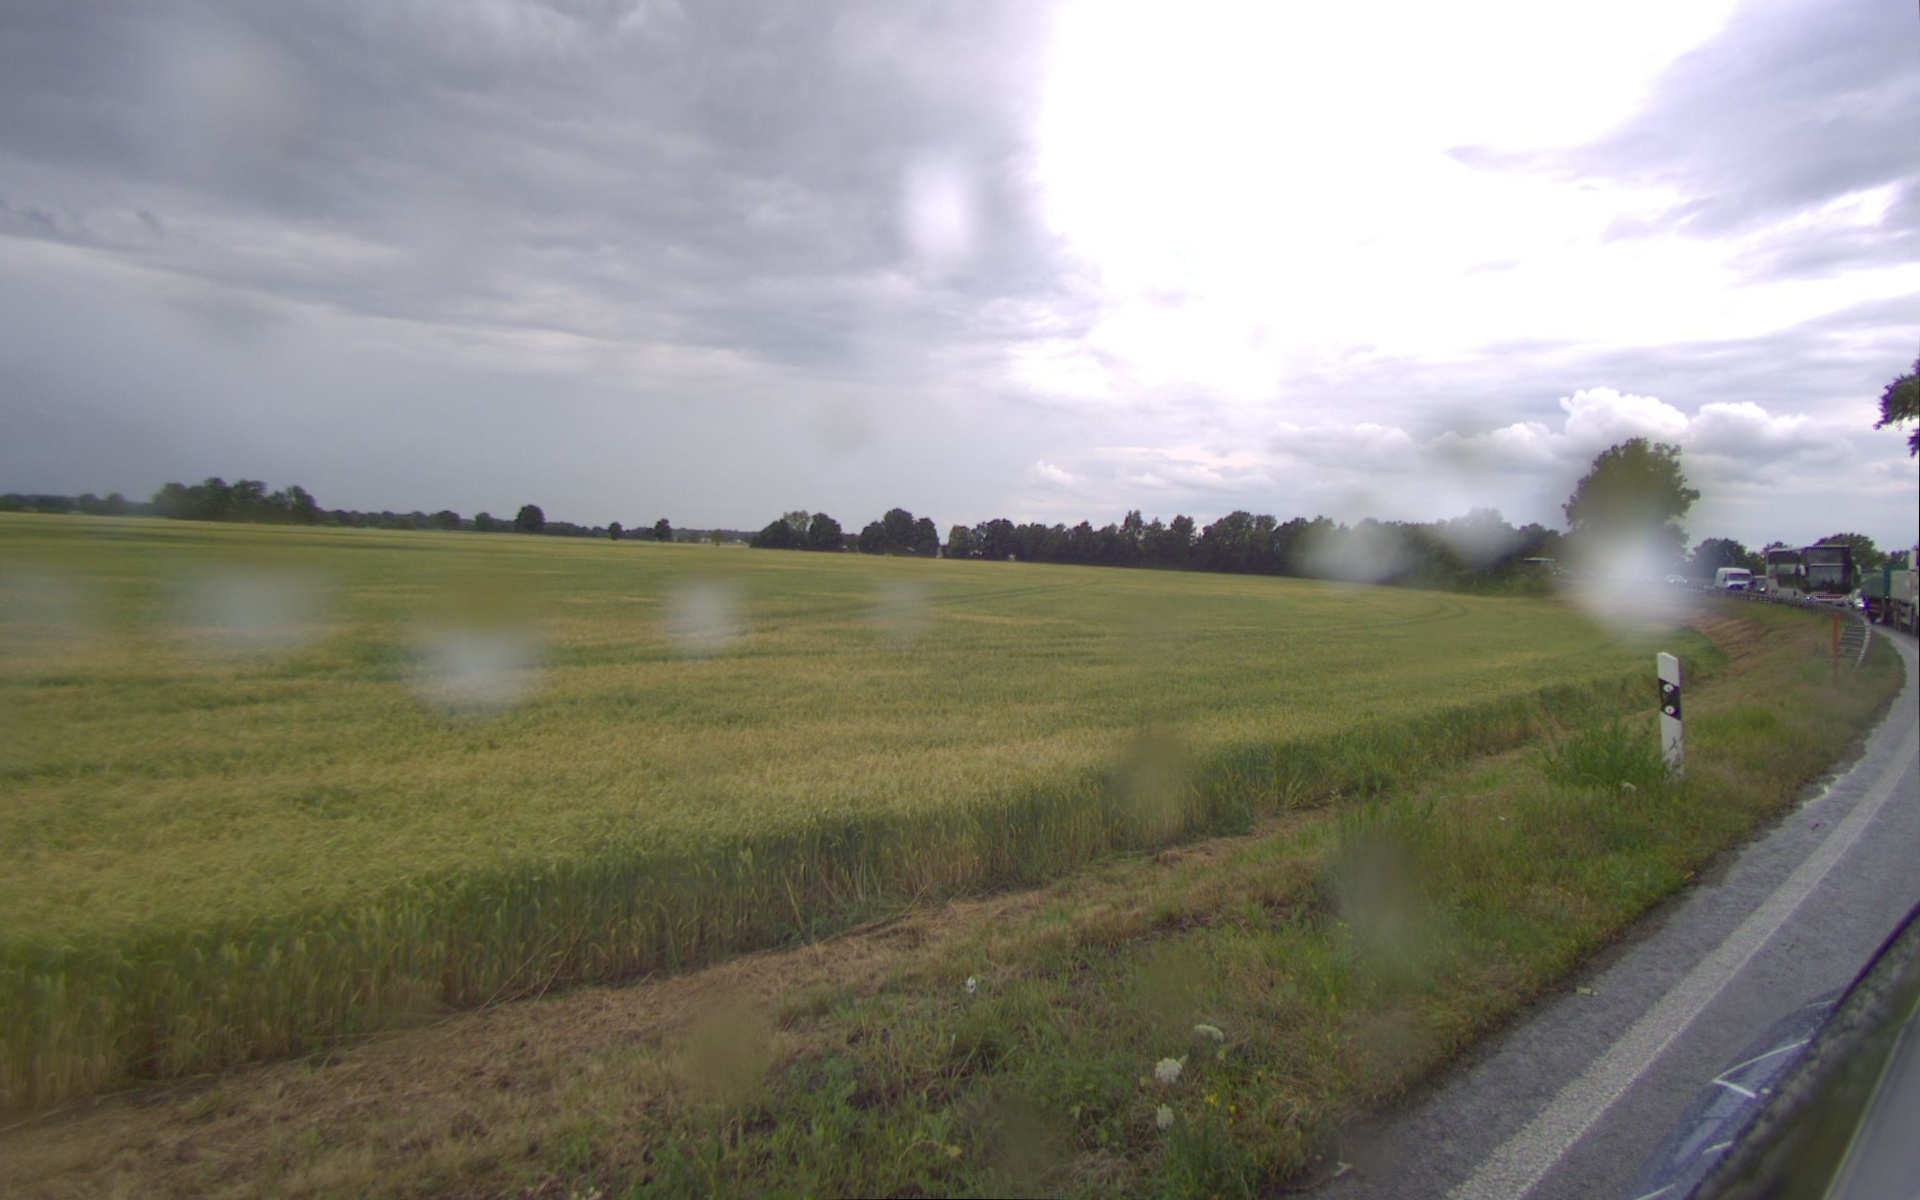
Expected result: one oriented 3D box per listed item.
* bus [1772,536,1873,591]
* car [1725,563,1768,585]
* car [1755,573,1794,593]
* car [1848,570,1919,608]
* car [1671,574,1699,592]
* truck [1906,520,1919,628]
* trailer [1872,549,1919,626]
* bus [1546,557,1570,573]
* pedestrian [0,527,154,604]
[{"bbox_3d":[58.739,-2.533,69.315,2.942,3.353,14.677,0,2,31],"label":"bus"},{"bbox_3d":[72.380,-2.406,93.259,1.979,2.038,5.291,0,1,25],"label":"car"},{"bbox_3d":[66.106,-1.407,82.150,1.799,1.597,3.960,0,2,29],"label":"car"},{"bbox_3d":[48.279,-0.631,52.943,2.029,1.865,5.272,0,2,34],"label":"car"},{"bbox_3d":[84.677,-1.947,118.296,1.980,2.038,4.195,0,1,26],"label":"car"},{"bbox_3d":[33.940,-0.886,33.730,2.970,3.655,5.998,0,2,38],"label":"truck"},{"bbox_3d":[39.133,-0.620,40.398,2.970,2.665,15.469,0,2,38],"label":"trailer"},{"bbox_3d":[111.851,-6.460,189.335,1.971,2.951,6.980,0,1,14],"label":"bus"},{"bbox_3d":[-25.388,-0.964,28.455,1.990,2.038,3.945,0,2,39],"label":"pedestrian"}]
